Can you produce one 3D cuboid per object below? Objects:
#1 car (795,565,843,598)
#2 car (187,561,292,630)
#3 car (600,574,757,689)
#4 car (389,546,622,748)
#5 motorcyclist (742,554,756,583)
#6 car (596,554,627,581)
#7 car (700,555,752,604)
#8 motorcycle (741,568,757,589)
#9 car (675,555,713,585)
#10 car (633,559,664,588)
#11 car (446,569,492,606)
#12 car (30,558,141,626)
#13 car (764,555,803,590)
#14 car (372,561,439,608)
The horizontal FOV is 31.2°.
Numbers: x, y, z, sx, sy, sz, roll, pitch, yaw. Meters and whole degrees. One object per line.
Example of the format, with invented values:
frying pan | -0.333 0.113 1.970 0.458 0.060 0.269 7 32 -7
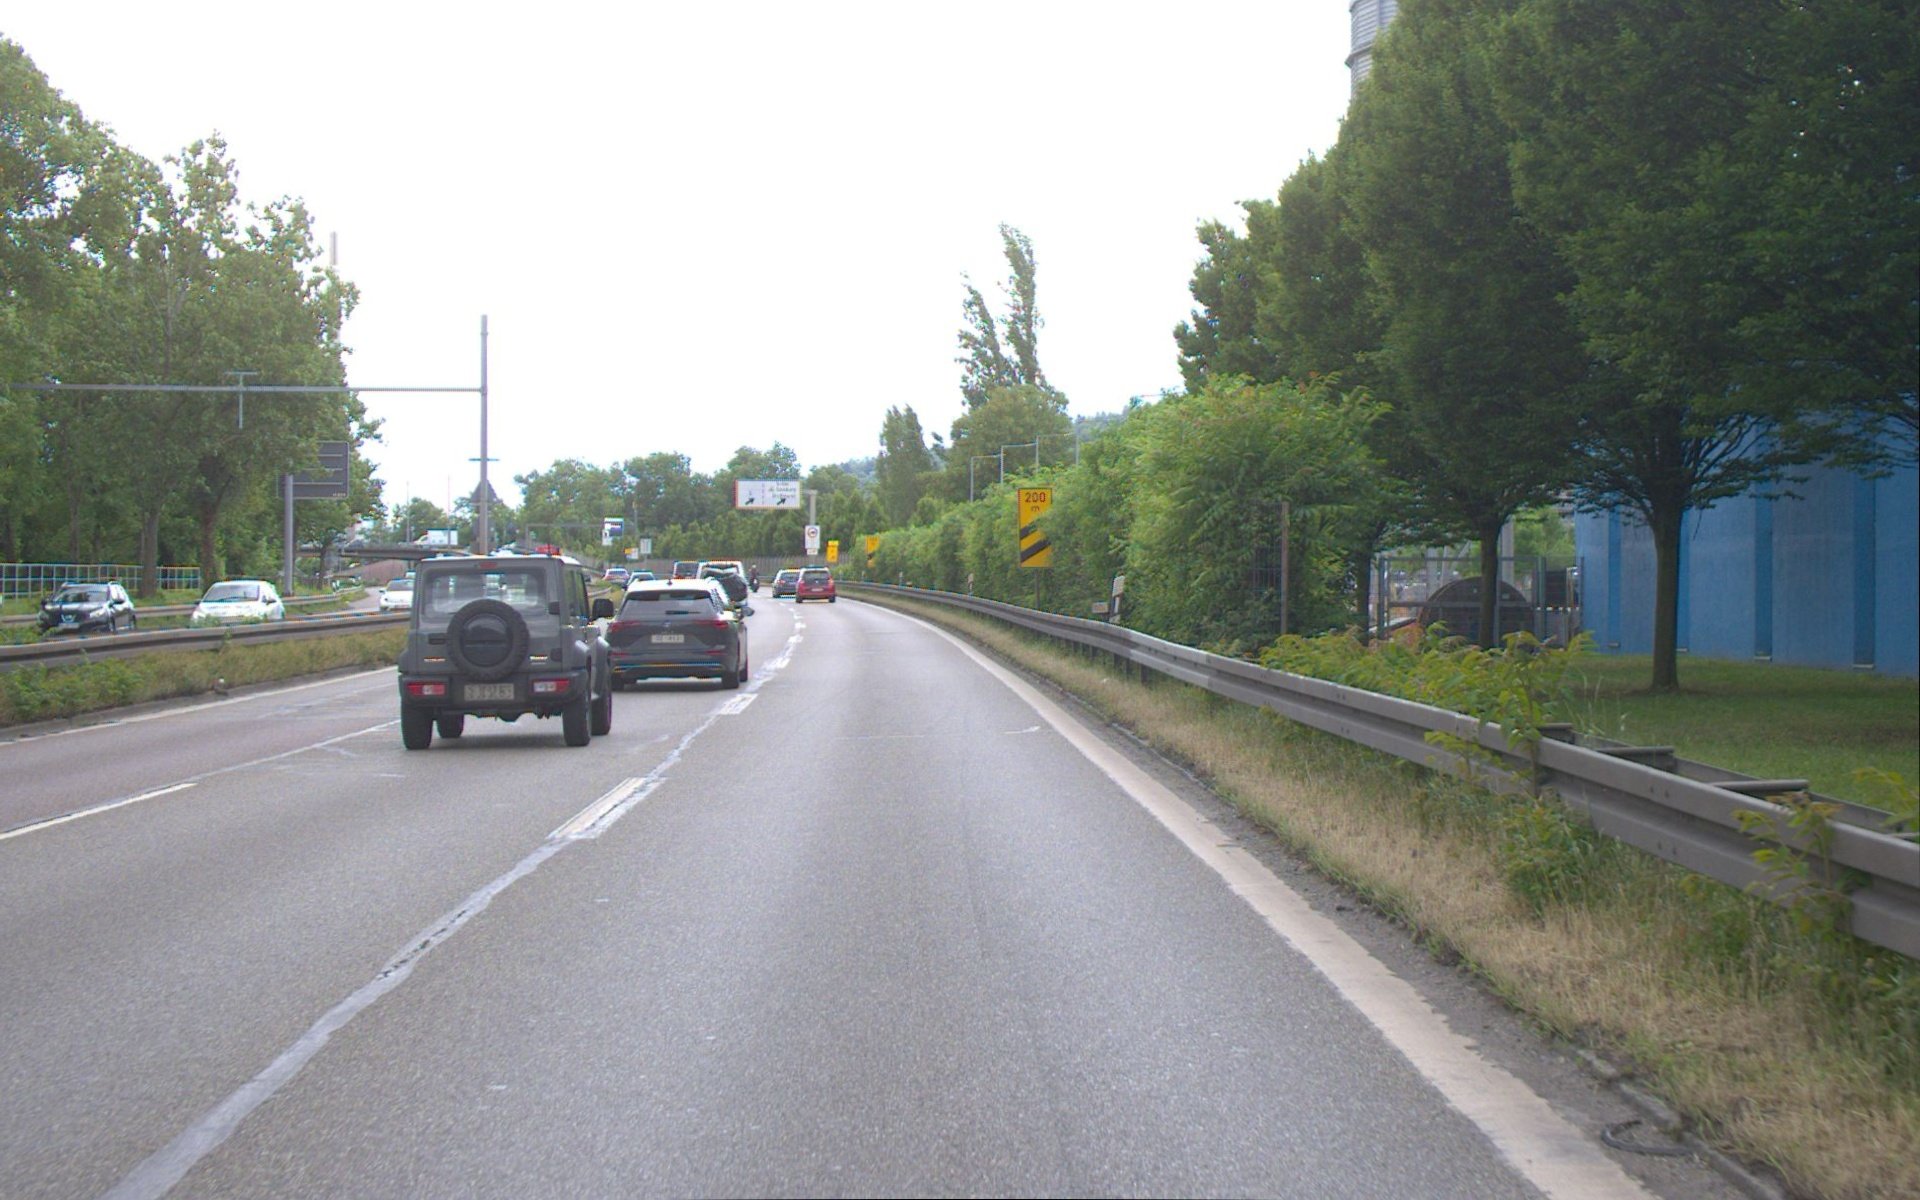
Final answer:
car | -6.274 -0.817 152.503 1.974 1.418 4.901 -1 1 -4
car | -18.050 -0.134 86.324 1.697 1.599 4.538 -2 1 -1
car | -3.702 0.381 45.898 1.845 1.418 4.901 1 1 -2
car | -4.071 0.371 31.319 1.697 1.680 4.000 -1 1 -2
motorcyclist | -13.102 -1.940 213.534 0.791 1.754 0.923 1 1 -9
car | -25.454 -2.388 251.192 2.013 1.927 4.902 -1 1 -9
car | -8.418 -0.731 123.922 1.697 1.736 4.000 0 0 -2
motorcycle | -13.112 -1.345 213.580 0.791 1.215 2.330 1 1 -9
car | -17.437 -1.980 225.425 2.013 1.927 4.902 -1 1 -10
car | -18.899 -1.603 208.510 1.697 1.736 4.394 -1 1 -7
car | -23.536 -0.614 164.812 1.726 1.769 3.742 -1 1 -1
car | -21.642 -0.216 85.257 1.726 1.599 4.042 -2 1 -1
car | -9.022 -1.394 175.464 1.697 1.736 4.394 0 0 -7
car | -20.822 -0.595 129.230 1.866 1.669 4.719 -1 1 -2
